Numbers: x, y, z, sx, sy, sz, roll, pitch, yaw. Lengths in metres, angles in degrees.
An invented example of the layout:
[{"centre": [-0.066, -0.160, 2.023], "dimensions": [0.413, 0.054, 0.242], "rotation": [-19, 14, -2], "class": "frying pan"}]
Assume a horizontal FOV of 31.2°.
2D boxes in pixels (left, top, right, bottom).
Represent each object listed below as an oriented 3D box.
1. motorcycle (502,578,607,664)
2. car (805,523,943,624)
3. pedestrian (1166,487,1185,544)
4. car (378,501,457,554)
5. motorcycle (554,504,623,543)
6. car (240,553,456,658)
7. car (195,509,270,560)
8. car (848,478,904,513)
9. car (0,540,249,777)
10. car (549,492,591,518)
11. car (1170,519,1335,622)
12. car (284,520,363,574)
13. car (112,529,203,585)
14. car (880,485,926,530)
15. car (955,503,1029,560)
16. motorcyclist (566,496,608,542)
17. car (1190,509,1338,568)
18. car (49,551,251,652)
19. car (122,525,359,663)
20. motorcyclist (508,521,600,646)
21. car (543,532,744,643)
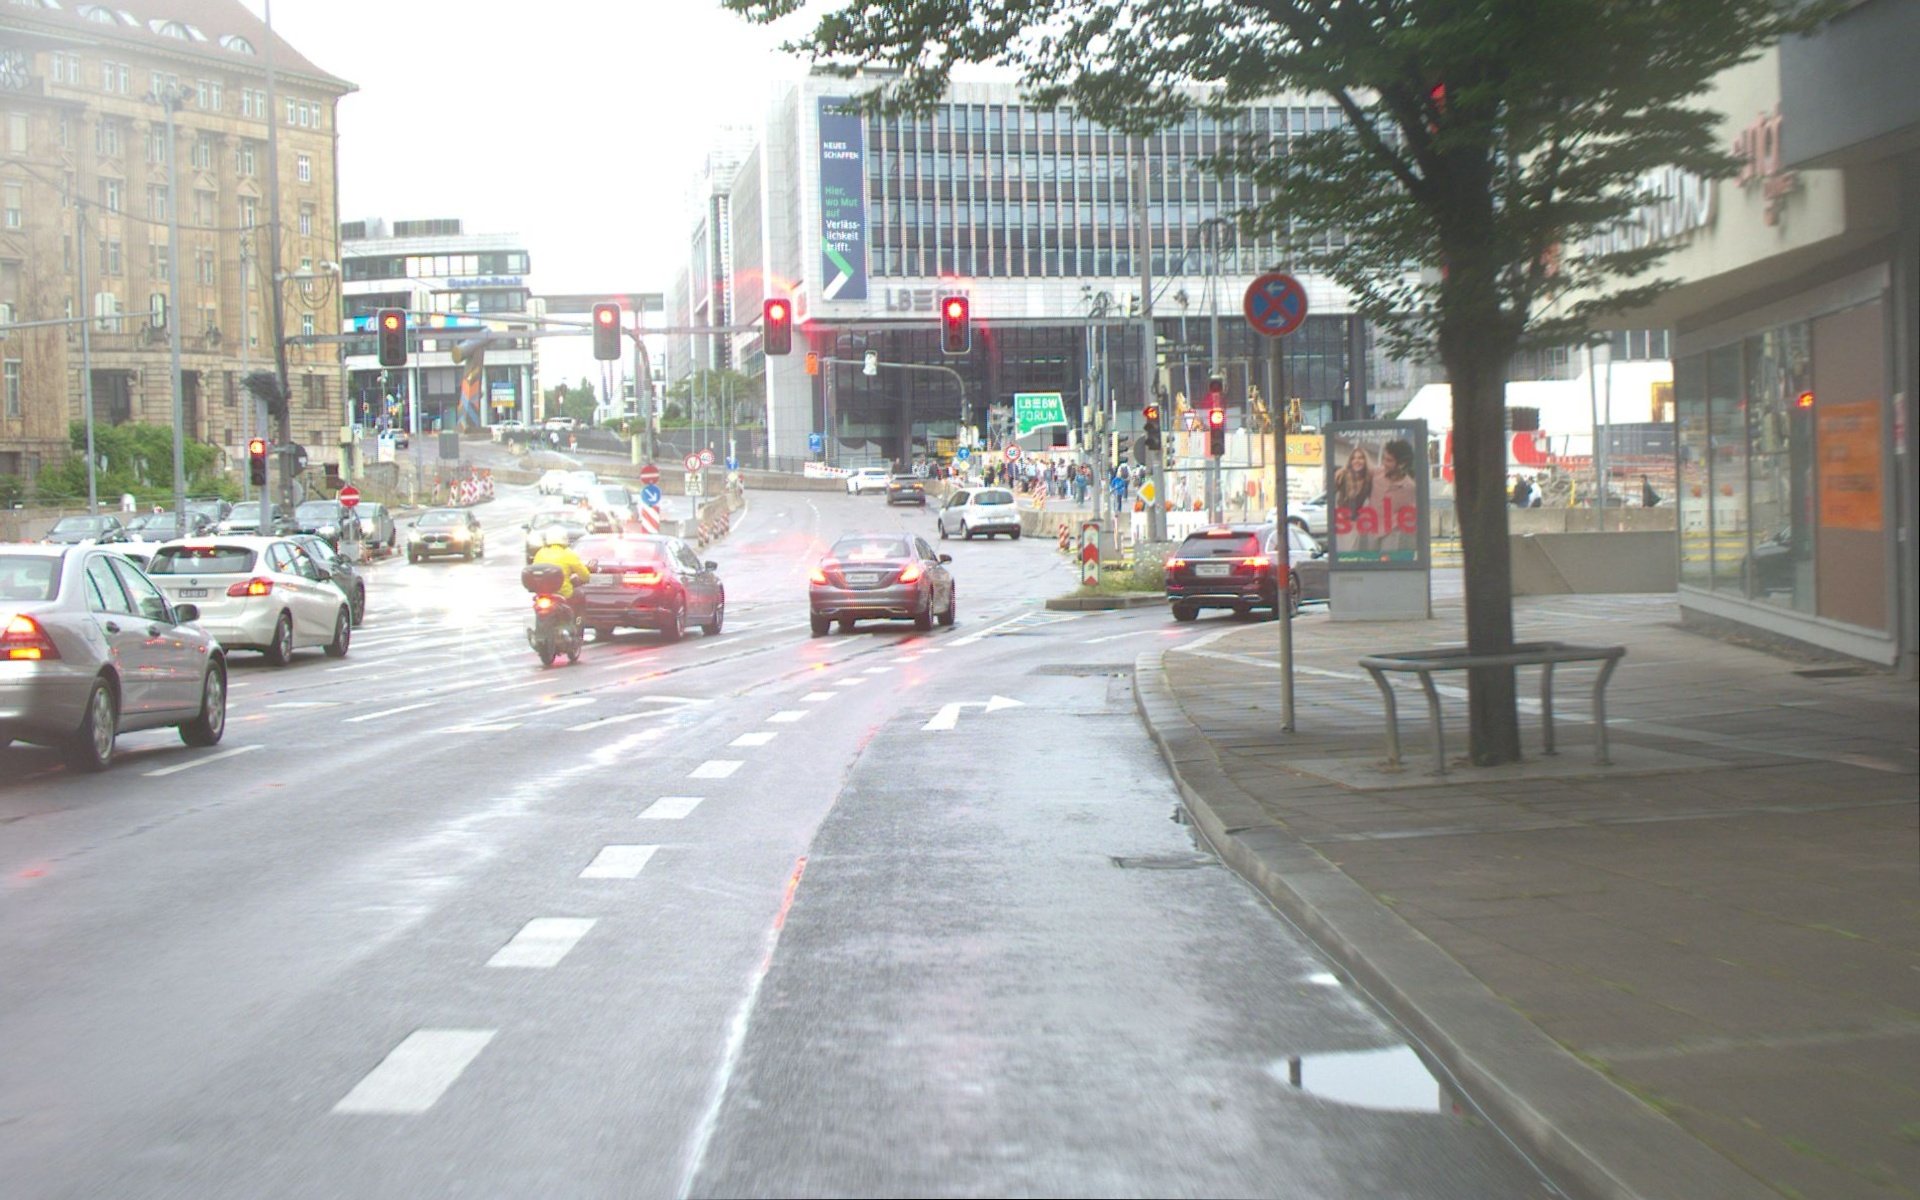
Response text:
[{"centre": [-4.818, 0.238, 41.002], "dimensions": [0.942, 0.986, 2.294], "rotation": [0, 1, 1], "class": "motorcycle"}, {"centre": [-1.251, -0.427, 51.696], "dimensions": [1.783, 1.397, 4.486], "rotation": [0, 2, 2], "class": "car"}, {"centre": [7.221, -2.832, 115.102], "dimensions": [0.361, 1.892, 0.576], "rotation": [0, 0, -34], "class": "pedestrian"}, {"centre": [-15.839, -2.122, 100.473], "dimensions": [1.821, 1.481, 4.001], "rotation": [-1, 2, -3], "class": "car"}, {"centre": [-11.145, -2.292, 103.195], "dimensions": [0.850, 1.105, 2.138], "rotation": [0, 0, 35], "class": "motorcycle"}, {"centre": [-9.650, 0.077, 54.537], "dimensions": [1.784, 1.594, 4.069], "rotation": [0, 0, 15], "class": "car"}, {"centre": [-23.213, -2.072, 109.830], "dimensions": [1.697, 1.568, 4.000], "rotation": [0, 0, -2], "class": "car"}, {"centre": [-4.739, -5.885, 193.858], "dimensions": [1.993, 1.810, 4.001], "rotation": [0, 0, -20], "class": "car"}, {"centre": [-6.126, 0.344, 22.595], "dimensions": [1.733, 1.399, 4.382], "rotation": [0, 0, 4], "class": "car"}, {"centre": [-20.757, -5.042, 183.094], "dimensions": [1.767, 1.256, 4.194], "rotation": [0, 0, 0], "class": "car"}, {"centre": [4.569, -0.438, 53.279], "dimensions": [1.892, 1.539, 3.990], "rotation": [0, 0, 15], "class": "car"}, {"centre": [-19.350, -1.599, 104.626], "dimensions": [1.801, 1.568, 4.075], "rotation": [0, 0, -2], "class": "car"}, {"centre": [-23.186, -1.229, 99.468], "dimensions": [1.697, 1.514, 3.875], "rotation": [-2, 0, 0], "class": "car"}, {"centre": [-2.716, -4.329, 162.228], "dimensions": [1.993, 2.007, 4.000], "rotation": [0, 0, -4], "class": "car"}, {"centre": [0.994, -2.163, 107.689], "dimensions": [1.727, 1.634, 3.436], "rotation": [0, 3, -10], "class": "car"}, {"centre": [-11.193, -2.418, 103.110], "dimensions": [0.848, 1.353, 0.946], "rotation": [0, 0, 36], "class": "motorcyclist"}, {"centre": [8.636, -1.725, 97.560], "dimensions": [3.989, 1.634, 1.999], "rotation": [0, 0, 12], "class": "car"}, {"centre": [-11.387, 0.020, 48.584], "dimensions": [1.783, 1.369, 3.993], "rotation": [0, 0, 2], "class": "car"}, {"centre": [-8.788, -0.070, 42.317], "dimensions": [1.733, 1.610, 3.999], "rotation": [0, 0, 6], "class": "car"}, {"centre": [-4.844, -0.200, 41.067], "dimensions": [0.941, 1.470, 1.100], "rotation": [0, 0, 1], "class": "motorcyclist"}, {"centre": [-4.452, -0.173, 49.134], "dimensions": [1.887, 1.509, 5.001], "rotation": [0, 0, 6], "class": "car"}]
